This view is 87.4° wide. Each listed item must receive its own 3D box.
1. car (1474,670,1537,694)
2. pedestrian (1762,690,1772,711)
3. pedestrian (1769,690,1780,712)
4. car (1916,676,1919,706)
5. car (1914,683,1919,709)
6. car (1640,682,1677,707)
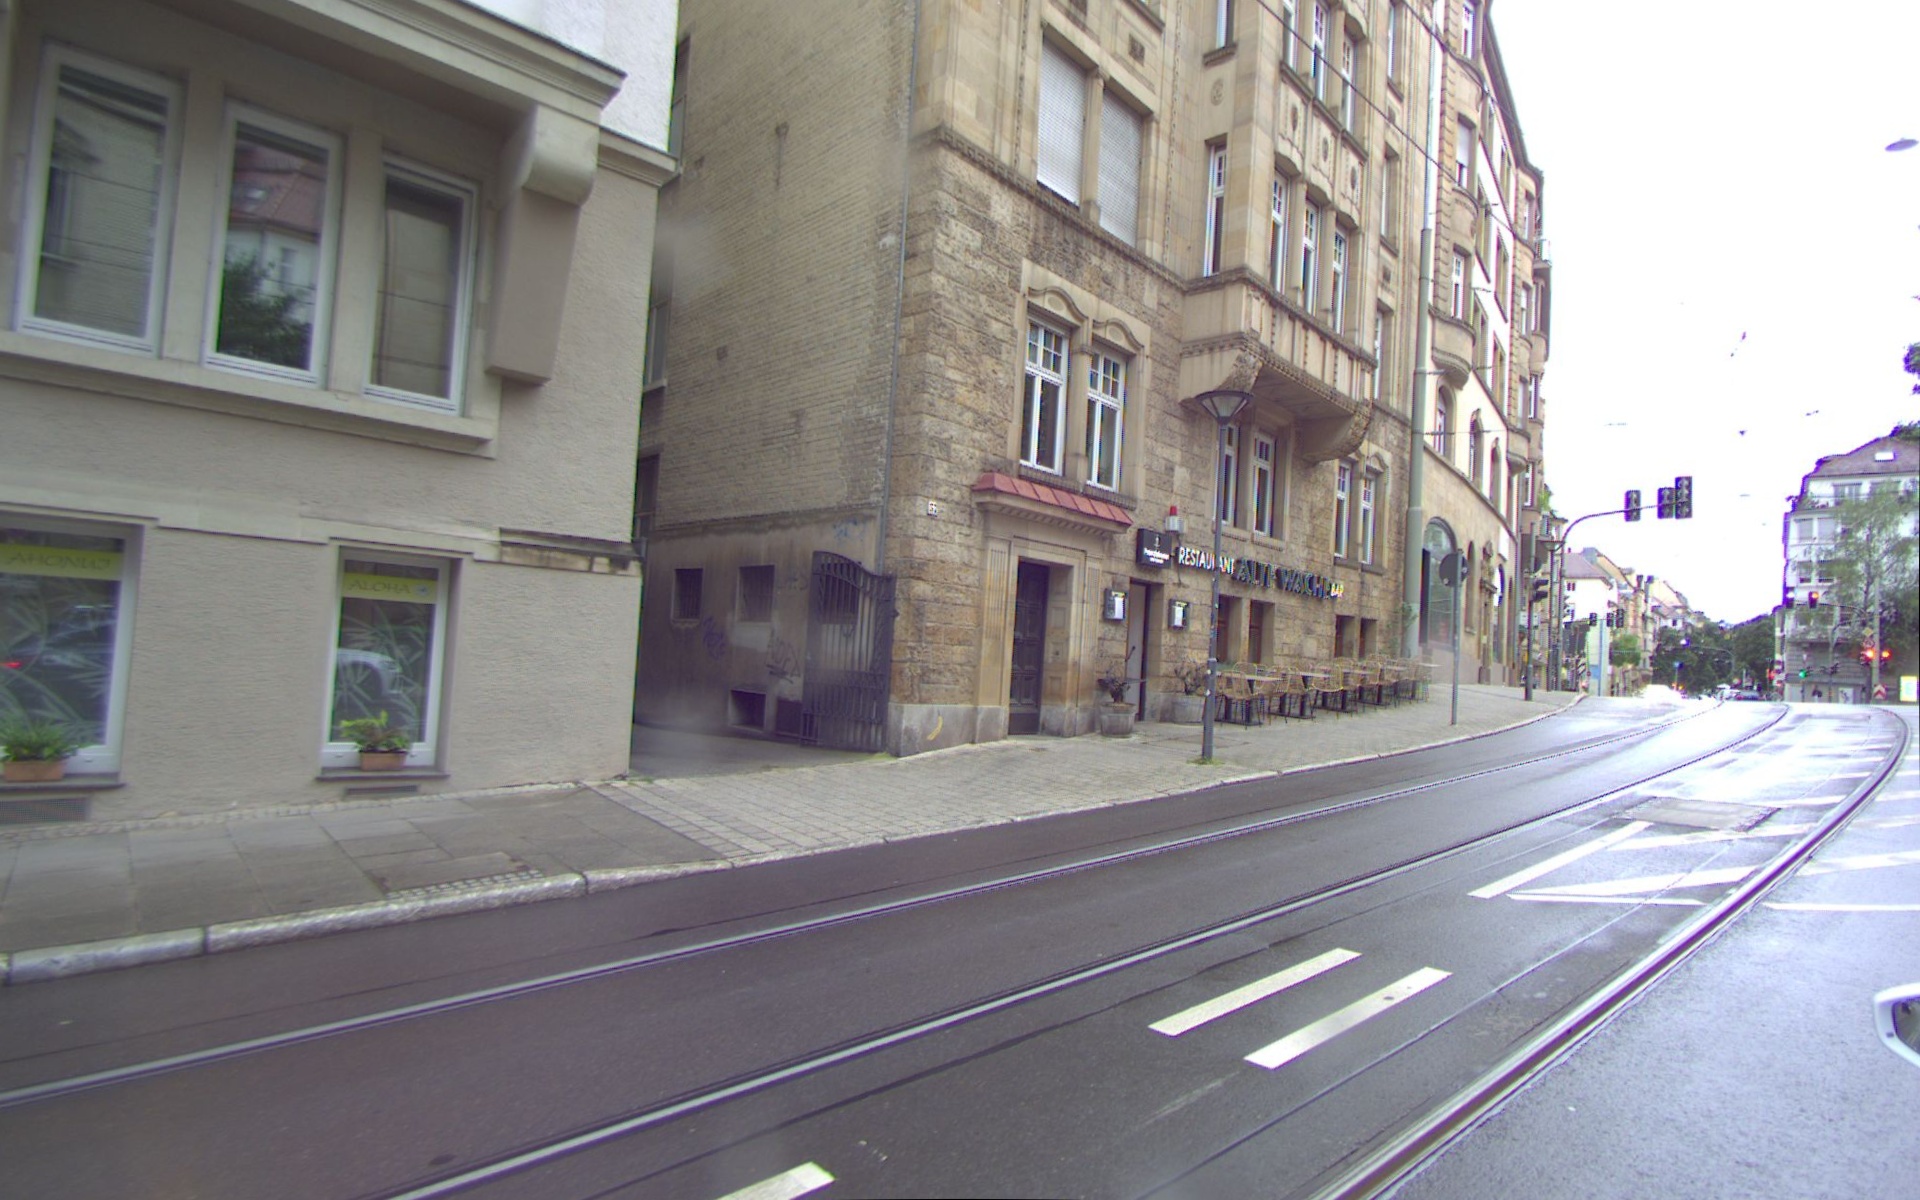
[{"bbox_3d":[39.909,5.962,73.464,3.932,1.530,1.795,0,-2,33],"label":"car"},{"bbox_3d":[67.223,8.362,83.637,0.640,1.683,0.647,1,-1,40],"label":"pedestrian"},{"bbox_3d":[65.758,8.176,81.069,0.640,1.683,0.647,1,-1,40],"label":"pedestrian"},{"bbox_3d":[50.994,4.655,51.536,3.955,1.530,1.786,2,-4,-31],"label":"car"},{"bbox_3d":[62.435,6.047,63.033,3.930,1.635,1.796,1,-2,-12],"label":"car"},{"bbox_3d":[50.553,6.801,72.779,1.768,1.530,4.657,-1,-2,30],"label":"car"}]
